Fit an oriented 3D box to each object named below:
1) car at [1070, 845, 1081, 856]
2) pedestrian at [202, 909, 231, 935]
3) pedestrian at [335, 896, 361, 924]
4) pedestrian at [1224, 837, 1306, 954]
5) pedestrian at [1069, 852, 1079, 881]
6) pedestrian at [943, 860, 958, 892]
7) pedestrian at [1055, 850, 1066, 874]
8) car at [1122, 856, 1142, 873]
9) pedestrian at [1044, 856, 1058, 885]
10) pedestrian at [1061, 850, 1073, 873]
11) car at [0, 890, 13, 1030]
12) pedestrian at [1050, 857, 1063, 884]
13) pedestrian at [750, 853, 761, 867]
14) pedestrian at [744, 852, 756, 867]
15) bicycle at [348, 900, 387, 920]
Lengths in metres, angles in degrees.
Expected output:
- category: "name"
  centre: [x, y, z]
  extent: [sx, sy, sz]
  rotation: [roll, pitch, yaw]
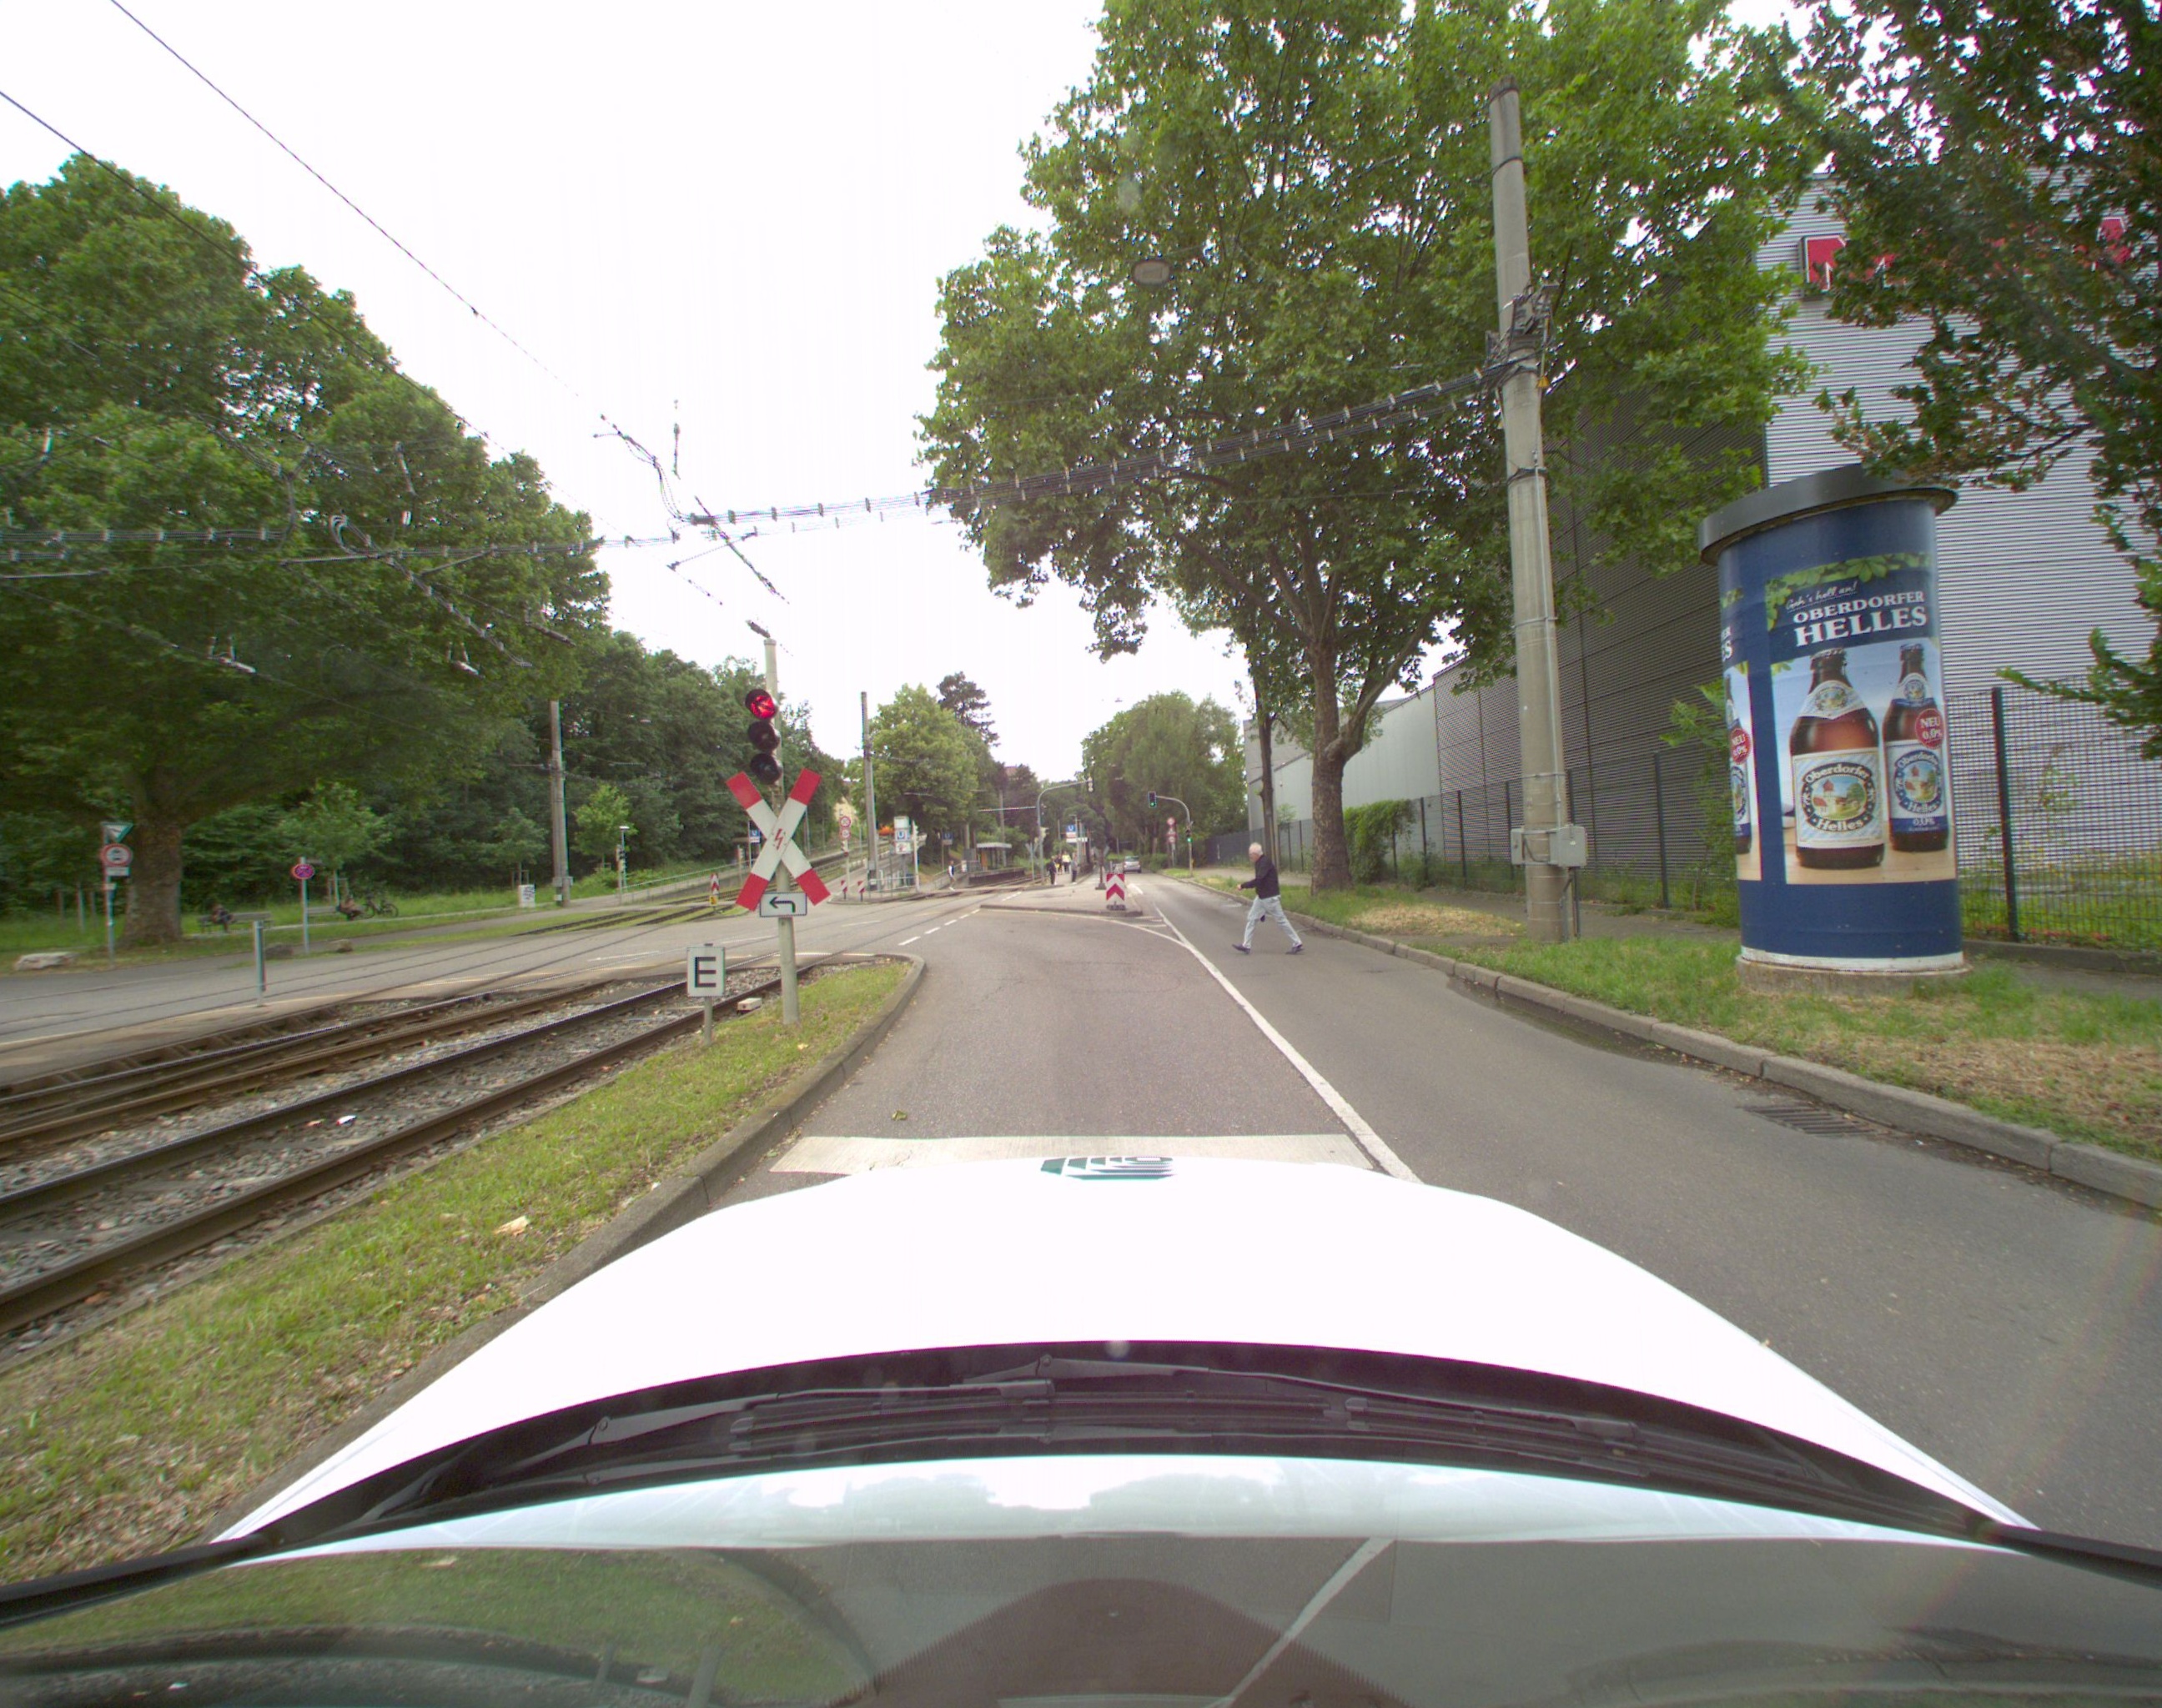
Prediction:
- category: "car"
  centre: [-1.072, -0.684, 162.522]
  extent: [1.986, 2.014, 4.001]
  rotation: [0, -1, 2]
- category: "pedestrian"
  centre: [-35.327, 2.773, 33.283]
  extent: [0.526, 0.989, 0.623]
  rotation: [-1, -1, 17]
- category: "pedestrian"
  centre: [-33.486, 2.533, 37.223]
  extent: [0.574, 1.235, 0.676]
  rotation: [-1, -1, 15]
- category: "pedestrian"
  centre: [2.850, 0.633, 12.738]
  extent: [1.112, 1.760, 0.814]
  rotation: [-1, -1, 3]
- category: "pedestrian"
  centre: [-0.448, 0.776, 50.952]
  extent: [0.547, 1.758, 0.739]
  rotation: [0, -1, 6]
- category: "pedestrian"
  centre: [-7.650, 1.279, 47.688]
  extent: [0.801, 1.821, 0.669]
  rotation: [0, -1, -5]
- category: "pedestrian"
  centre: [-1.451, 0.554, 57.370]
  extent: [0.735, 1.665, 0.679]
  rotation: [0, -1, -9]
- category: "car"
  centre: [4.778, 0.995, 76.998]
  extent: [1.737, 1.599, 4.001]
  rotation: [0, -1, 2]
- category: "pedestrian"
  centre: [-1.738, 0.952, 47.172]
  extent: [0.732, 1.665, 0.682]
  rotation: [0, -1, 3]
- category: "pedestrian"
  centre: [-0.989, 0.517, 58.388]
  extent: [0.735, 1.665, 0.679]
  rotation: [0, -1, -9]
- category: "car"
  centre: [-14.709, 1.446, 8.278]
  extent: [1.888, 1.717, 4.150]
  rotation: [-4, 1, 11]
- category: "pedestrian"
  centre: [-1.508, 1.010, 49.815]
  extent: [0.675, 1.665, 0.739]
  rotation: [-1, -1, 8]
- category: "pedestrian"
  centre: [-30.661, 0.542, 76.734]
  extent: [0.771, 1.326, 0.785]
  rotation: [0, -1, -6]
- category: "pedestrian"
  centre: [-30.729, 0.533, 75.610]
  extent: [0.771, 1.326, 0.785]
  rotation: [0, 2, -6]
- category: "bicycle"
  centre: [-33.459, 2.623, 38.176]
  extent: [1.726, 0.885, 0.625]
  rotation: [-1, -1, 21]
